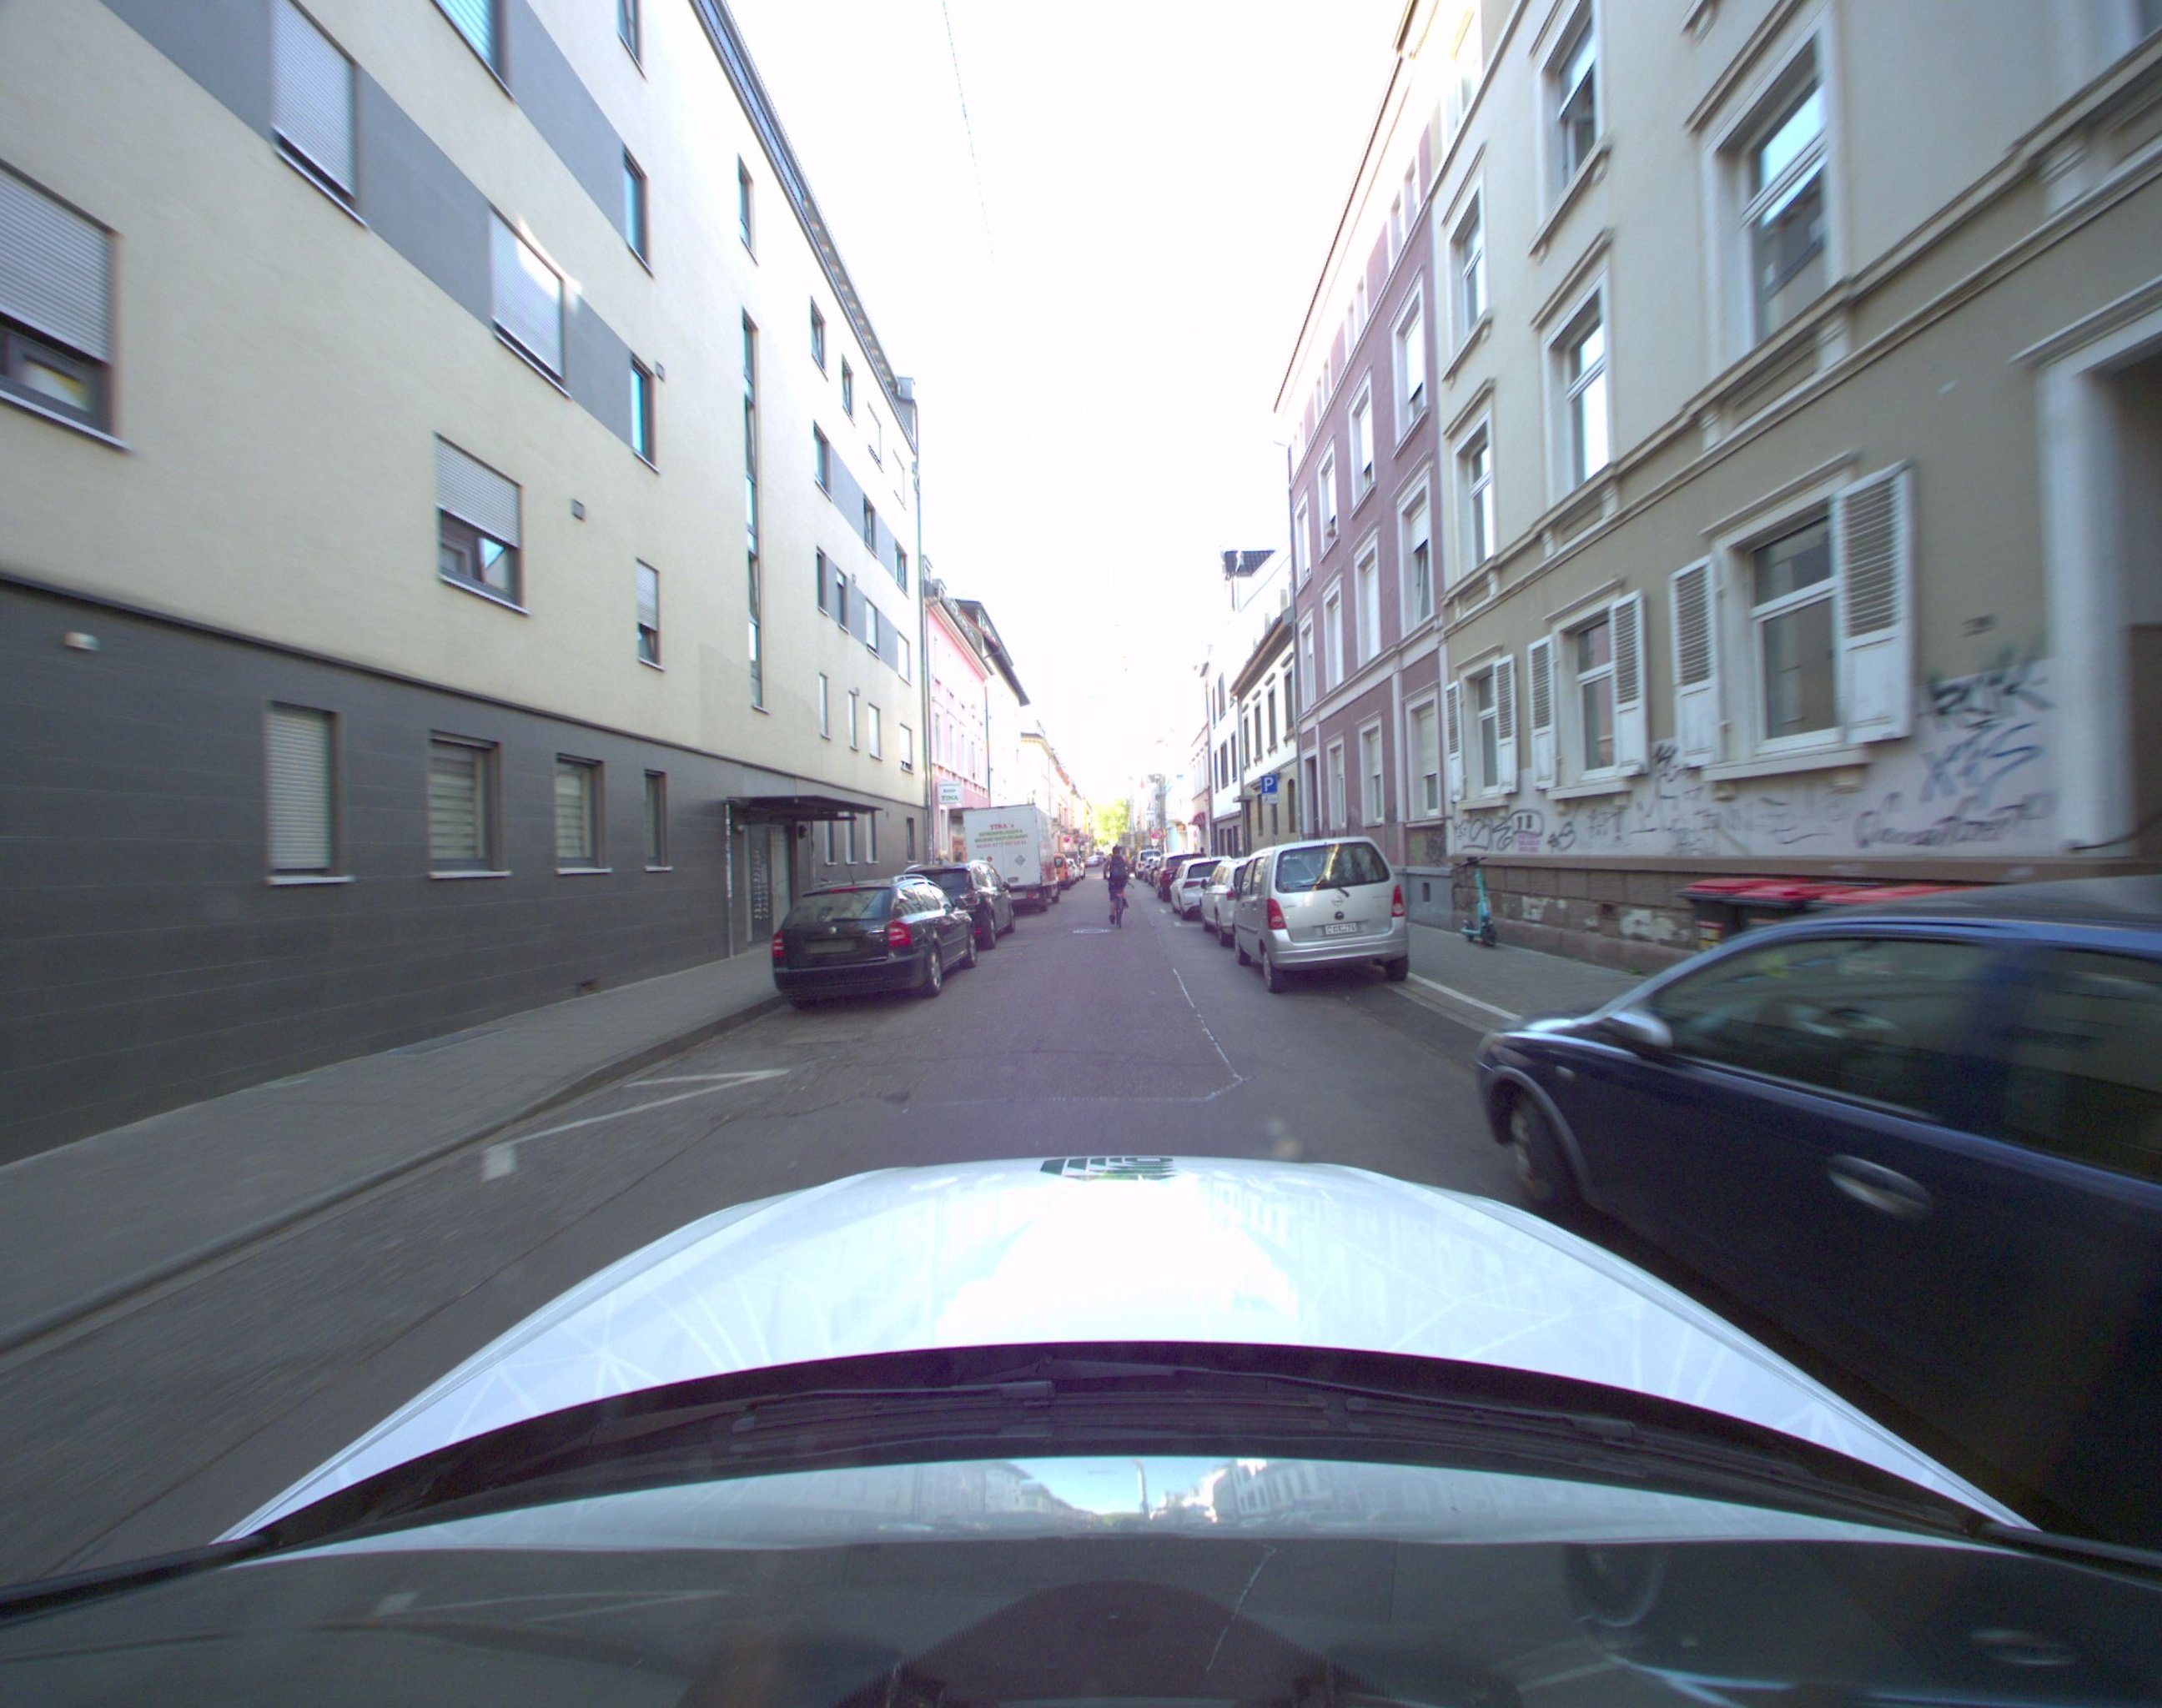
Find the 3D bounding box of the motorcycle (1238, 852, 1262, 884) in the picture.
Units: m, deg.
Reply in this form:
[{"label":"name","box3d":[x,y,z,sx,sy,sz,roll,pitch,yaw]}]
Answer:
[{"label":"motorcycle","box3d":[6.171,0.511,29.798,0.499,1.095,1.879,-4,-1,2]}]

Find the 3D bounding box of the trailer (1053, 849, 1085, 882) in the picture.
[{"label":"trailer","box3d":[-0.800,0.777,56.399,1.875,2.092,3.739,-3,-1,2]}]

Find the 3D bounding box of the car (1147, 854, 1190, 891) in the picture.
[{"label":"car","box3d":[3.988,0.824,37.448,1.660,1.505,3.819,-5,-1,3]}]

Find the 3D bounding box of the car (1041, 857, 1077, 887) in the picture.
[{"label":"car","box3d":[-1.213,1.002,46.705,1.743,1.537,4.321,-3,-1,2]}]

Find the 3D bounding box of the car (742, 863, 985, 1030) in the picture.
[{"label":"car","box3d":[-2.499,0.977,10.598,1.710,1.478,4.501,-5,0,2]}]

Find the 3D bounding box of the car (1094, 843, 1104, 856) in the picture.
[{"label":"car","box3d":[3.384,-0.852,156.194,1.743,2.318,3.797,-3,-1,2]}]

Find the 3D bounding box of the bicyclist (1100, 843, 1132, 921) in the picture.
[{"label":"bicyclist","box3d":[0.766,0.609,18.066,0.665,1.677,1.097,-1,-1,2]}]

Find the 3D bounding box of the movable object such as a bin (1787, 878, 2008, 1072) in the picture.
[{"label":"movable object such as a bin","box3d":[5.116,0.727,5.145,0.692,1.088,0.632,-4,-1,1]}]

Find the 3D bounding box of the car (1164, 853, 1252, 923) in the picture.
[{"label":"car","box3d":[3.206,0.825,21.256,1.680,1.543,4.047,-4,-1,2]}]

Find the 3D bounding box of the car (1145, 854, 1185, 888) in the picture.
[{"label":"car","box3d":[4.243,0.852,41.691,1.640,1.475,3.972,-6,-1,2]}]

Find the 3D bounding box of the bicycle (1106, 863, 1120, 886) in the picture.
[{"label":"bicycle","box3d":[1.667,1.047,42.460,0.646,1.129,2.137,-1,-1,2]}]

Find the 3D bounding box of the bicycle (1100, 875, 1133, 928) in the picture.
[{"label":"bicycle","box3d":[0.773,1.032,18.115,0.674,1.074,1.942,-1,-1,2]}]

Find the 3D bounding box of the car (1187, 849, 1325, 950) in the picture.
[{"label":"car","box3d":[3.147,0.766,15.594,1.690,1.543,4.630,-4,-1,2]}]

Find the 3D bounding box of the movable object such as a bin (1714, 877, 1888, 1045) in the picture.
[{"label":"movable object such as a bin","box3d":[5.151,0.742,5.860,0.692,1.088,0.559,-4,-1,1]}]

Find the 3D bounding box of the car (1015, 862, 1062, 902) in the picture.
[{"label":"car","box3d":[-1.762,1.150,34.488,1.572,1.483,3.566,-5,-1,2]}]

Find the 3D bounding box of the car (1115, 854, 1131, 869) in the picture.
[{"label":"car","box3d":[4.447,0.793,86.605,1.605,1.560,3.612,-1,-1,2]}]

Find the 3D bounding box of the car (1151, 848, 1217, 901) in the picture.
[{"label":"car","box3d":[3.623,0.686,29.361,1.911,1.706,4.368,-2,0,2]}]

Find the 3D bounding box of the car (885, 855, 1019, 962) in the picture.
[{"label":"car","box3d":[-2.376,0.932,16.062,1.710,1.650,4.247,-5,0,2]}]

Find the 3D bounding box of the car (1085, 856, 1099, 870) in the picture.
[{"label":"car","box3d":[1.522,1.201,109.750,1.743,1.683,3.797,-3,-1,2]}]

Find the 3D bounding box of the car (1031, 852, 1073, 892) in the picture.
[{"label":"car","box3d":[-1.395,0.899,41.094,1.746,1.816,4.079,-4,-1,1]}]

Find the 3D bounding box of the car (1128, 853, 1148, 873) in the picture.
[{"label":"car","box3d":[4.898,0.801,70.770,1.605,1.633,3.612,-1,-1,2]}]

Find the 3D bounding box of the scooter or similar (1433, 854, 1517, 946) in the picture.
[{"label":"scooter or similar","box3d":[5.521,0.615,11.486,0.448,1.182,1.369,-6,-1,2]}]

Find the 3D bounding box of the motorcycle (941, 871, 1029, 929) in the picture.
[{"label":"motorcycle","box3d":[-2.372,1.119,20.374,0.782,1.253,2.120,-4,0,43]}]

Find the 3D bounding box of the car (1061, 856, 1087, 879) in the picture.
[{"label":"car","box3d":[-0.482,1.007,60.662,1.743,1.573,3.797,-3,-1,2]}]

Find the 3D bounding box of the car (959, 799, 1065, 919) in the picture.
[{"label":"car","box3d":[-2.073,0.170,26.987,2.334,3.291,7.159,-4,-1,3]}]

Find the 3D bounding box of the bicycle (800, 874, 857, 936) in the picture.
[{"label":"bicycle","box3d":[-5.283,1.038,17.154,0.488,1.164,1.775,-4,0,3]}]

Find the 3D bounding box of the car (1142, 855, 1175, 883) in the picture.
[{"label":"car","box3d":[4.544,0.864,47.921,1.742,1.487,3.803,-3,-1,4]}]

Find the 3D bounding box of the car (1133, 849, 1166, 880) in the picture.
[{"label":"car","box3d":[4.412,0.685,52.995,1.744,1.879,3.971,-3,-1,0]}]

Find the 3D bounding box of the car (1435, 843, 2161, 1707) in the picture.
[{"label":"car","box3d":[2.572,0.736,2.297,1.547,1.511,3.610,-1,-1,0]}]

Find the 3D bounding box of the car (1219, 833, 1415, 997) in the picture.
[{"label":"car","box3d":[2.799,0.664,10.401,1.550,1.712,3.560,-1,-1,2]}]

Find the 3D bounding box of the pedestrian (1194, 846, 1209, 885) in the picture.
[{"label":"pedestrian","box3d":[6.317,0.606,42.765,0.641,2.014,0.764,-1,-1,2]}]

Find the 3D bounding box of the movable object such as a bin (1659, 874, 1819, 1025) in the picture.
[{"label":"movable object such as a bin","box3d":[5.205,0.736,6.474,0.749,1.088,0.559,-4,-1,1]}]

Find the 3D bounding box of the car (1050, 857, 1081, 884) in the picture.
[{"label":"car","box3d":[-0.959,1.037,51.778,1.647,1.537,3.636,-3,-1,2]}]

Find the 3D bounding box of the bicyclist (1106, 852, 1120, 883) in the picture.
[{"label":"bicyclist","box3d":[1.664,0.694,42.461,0.668,1.567,0.716,-1,-1,1]}]
